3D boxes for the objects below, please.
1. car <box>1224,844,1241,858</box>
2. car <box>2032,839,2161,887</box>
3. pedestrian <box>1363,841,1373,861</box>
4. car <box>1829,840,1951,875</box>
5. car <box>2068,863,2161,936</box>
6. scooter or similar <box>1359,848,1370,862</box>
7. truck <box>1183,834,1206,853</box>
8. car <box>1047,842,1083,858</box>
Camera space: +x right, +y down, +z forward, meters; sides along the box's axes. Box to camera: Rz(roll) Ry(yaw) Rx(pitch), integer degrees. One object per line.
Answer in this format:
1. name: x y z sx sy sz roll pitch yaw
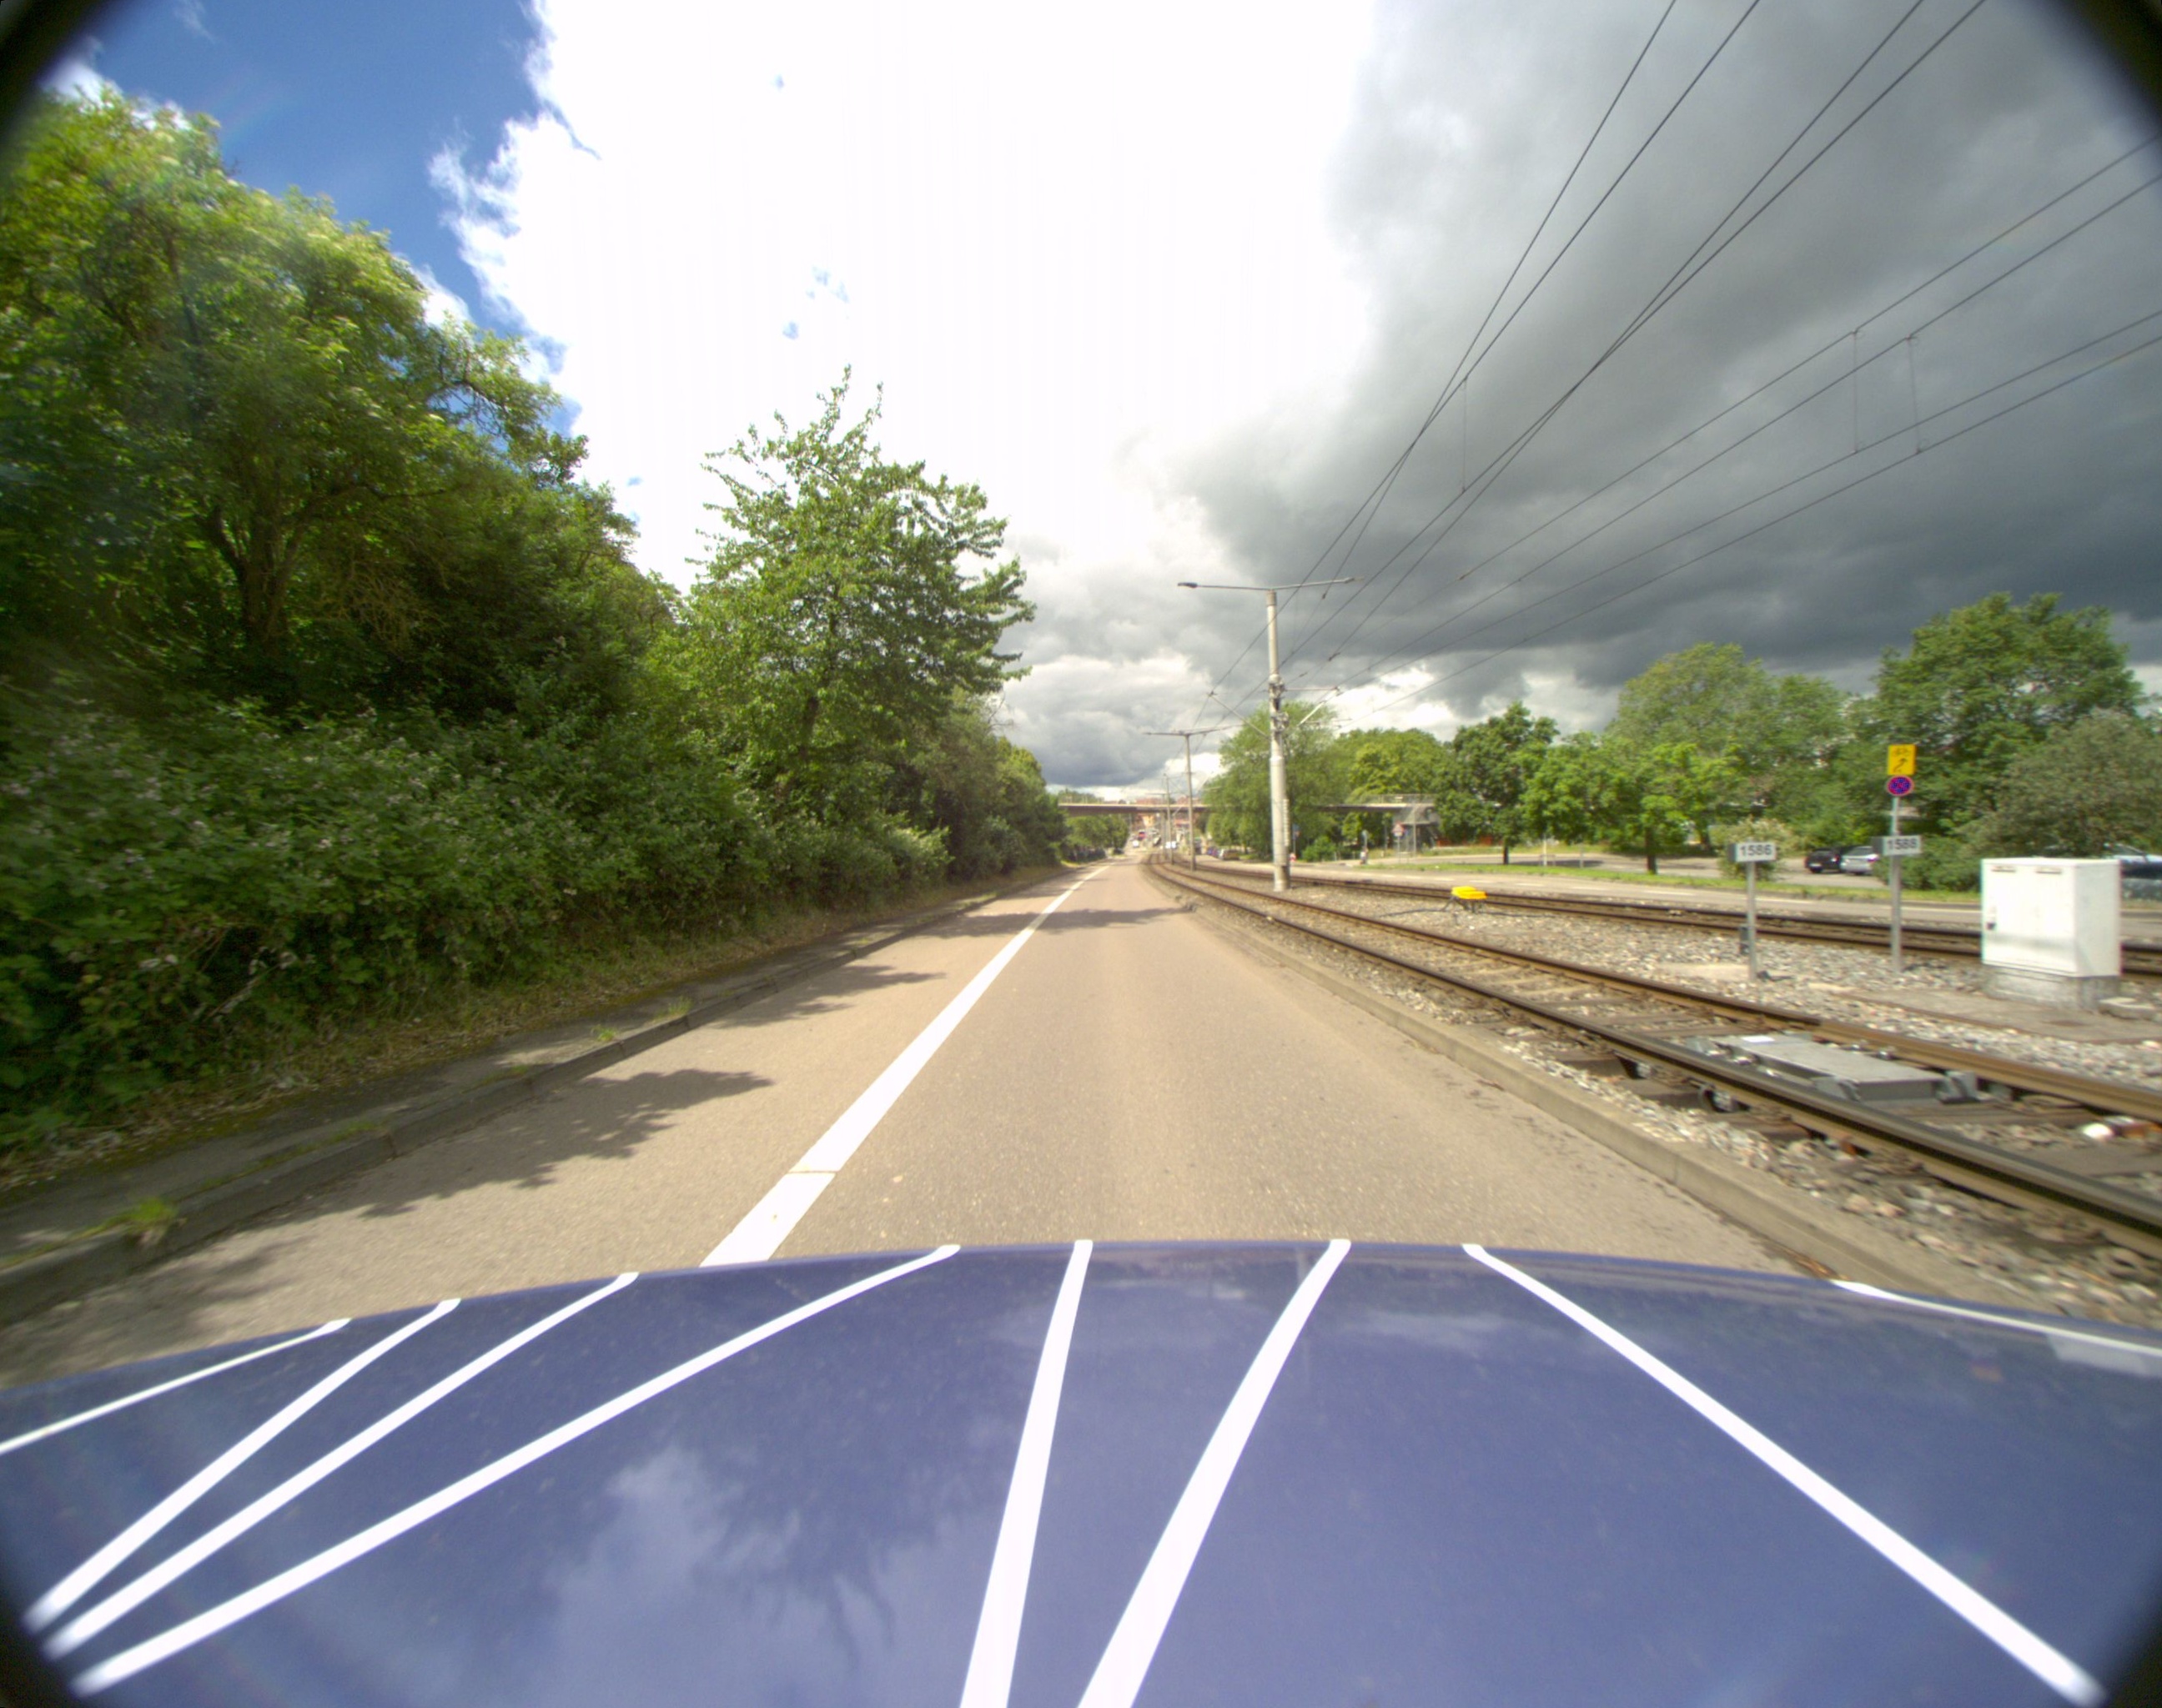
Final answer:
1. car: 19.572 -0.396 98.338 1.692 1.442 3.898 -4 2 7
2. car: 39.909 0.334 29.340 3.925 1.570 1.843 -4 0 1
3. pedestrian: 26.292 -0.306 69.587 0.662 1.746 0.718 -4 3 7
4. car: 38.964 0.169 36.683 3.876 1.383 1.574 -4 2 9
5. car: 28.698 1.178 19.257 1.994 1.744 4.069 -4 -1 0
6. scooter or similar: 25.580 0.079 68.655 0.712 1.141 0.788 -4 3 8
7. truck: 21.614 -2.023 145.345 2.878 3.301 9.027 -4 2 0
8. car: -2.227 -0.552 106.160 4.533 1.662 2.000 6 4 6
